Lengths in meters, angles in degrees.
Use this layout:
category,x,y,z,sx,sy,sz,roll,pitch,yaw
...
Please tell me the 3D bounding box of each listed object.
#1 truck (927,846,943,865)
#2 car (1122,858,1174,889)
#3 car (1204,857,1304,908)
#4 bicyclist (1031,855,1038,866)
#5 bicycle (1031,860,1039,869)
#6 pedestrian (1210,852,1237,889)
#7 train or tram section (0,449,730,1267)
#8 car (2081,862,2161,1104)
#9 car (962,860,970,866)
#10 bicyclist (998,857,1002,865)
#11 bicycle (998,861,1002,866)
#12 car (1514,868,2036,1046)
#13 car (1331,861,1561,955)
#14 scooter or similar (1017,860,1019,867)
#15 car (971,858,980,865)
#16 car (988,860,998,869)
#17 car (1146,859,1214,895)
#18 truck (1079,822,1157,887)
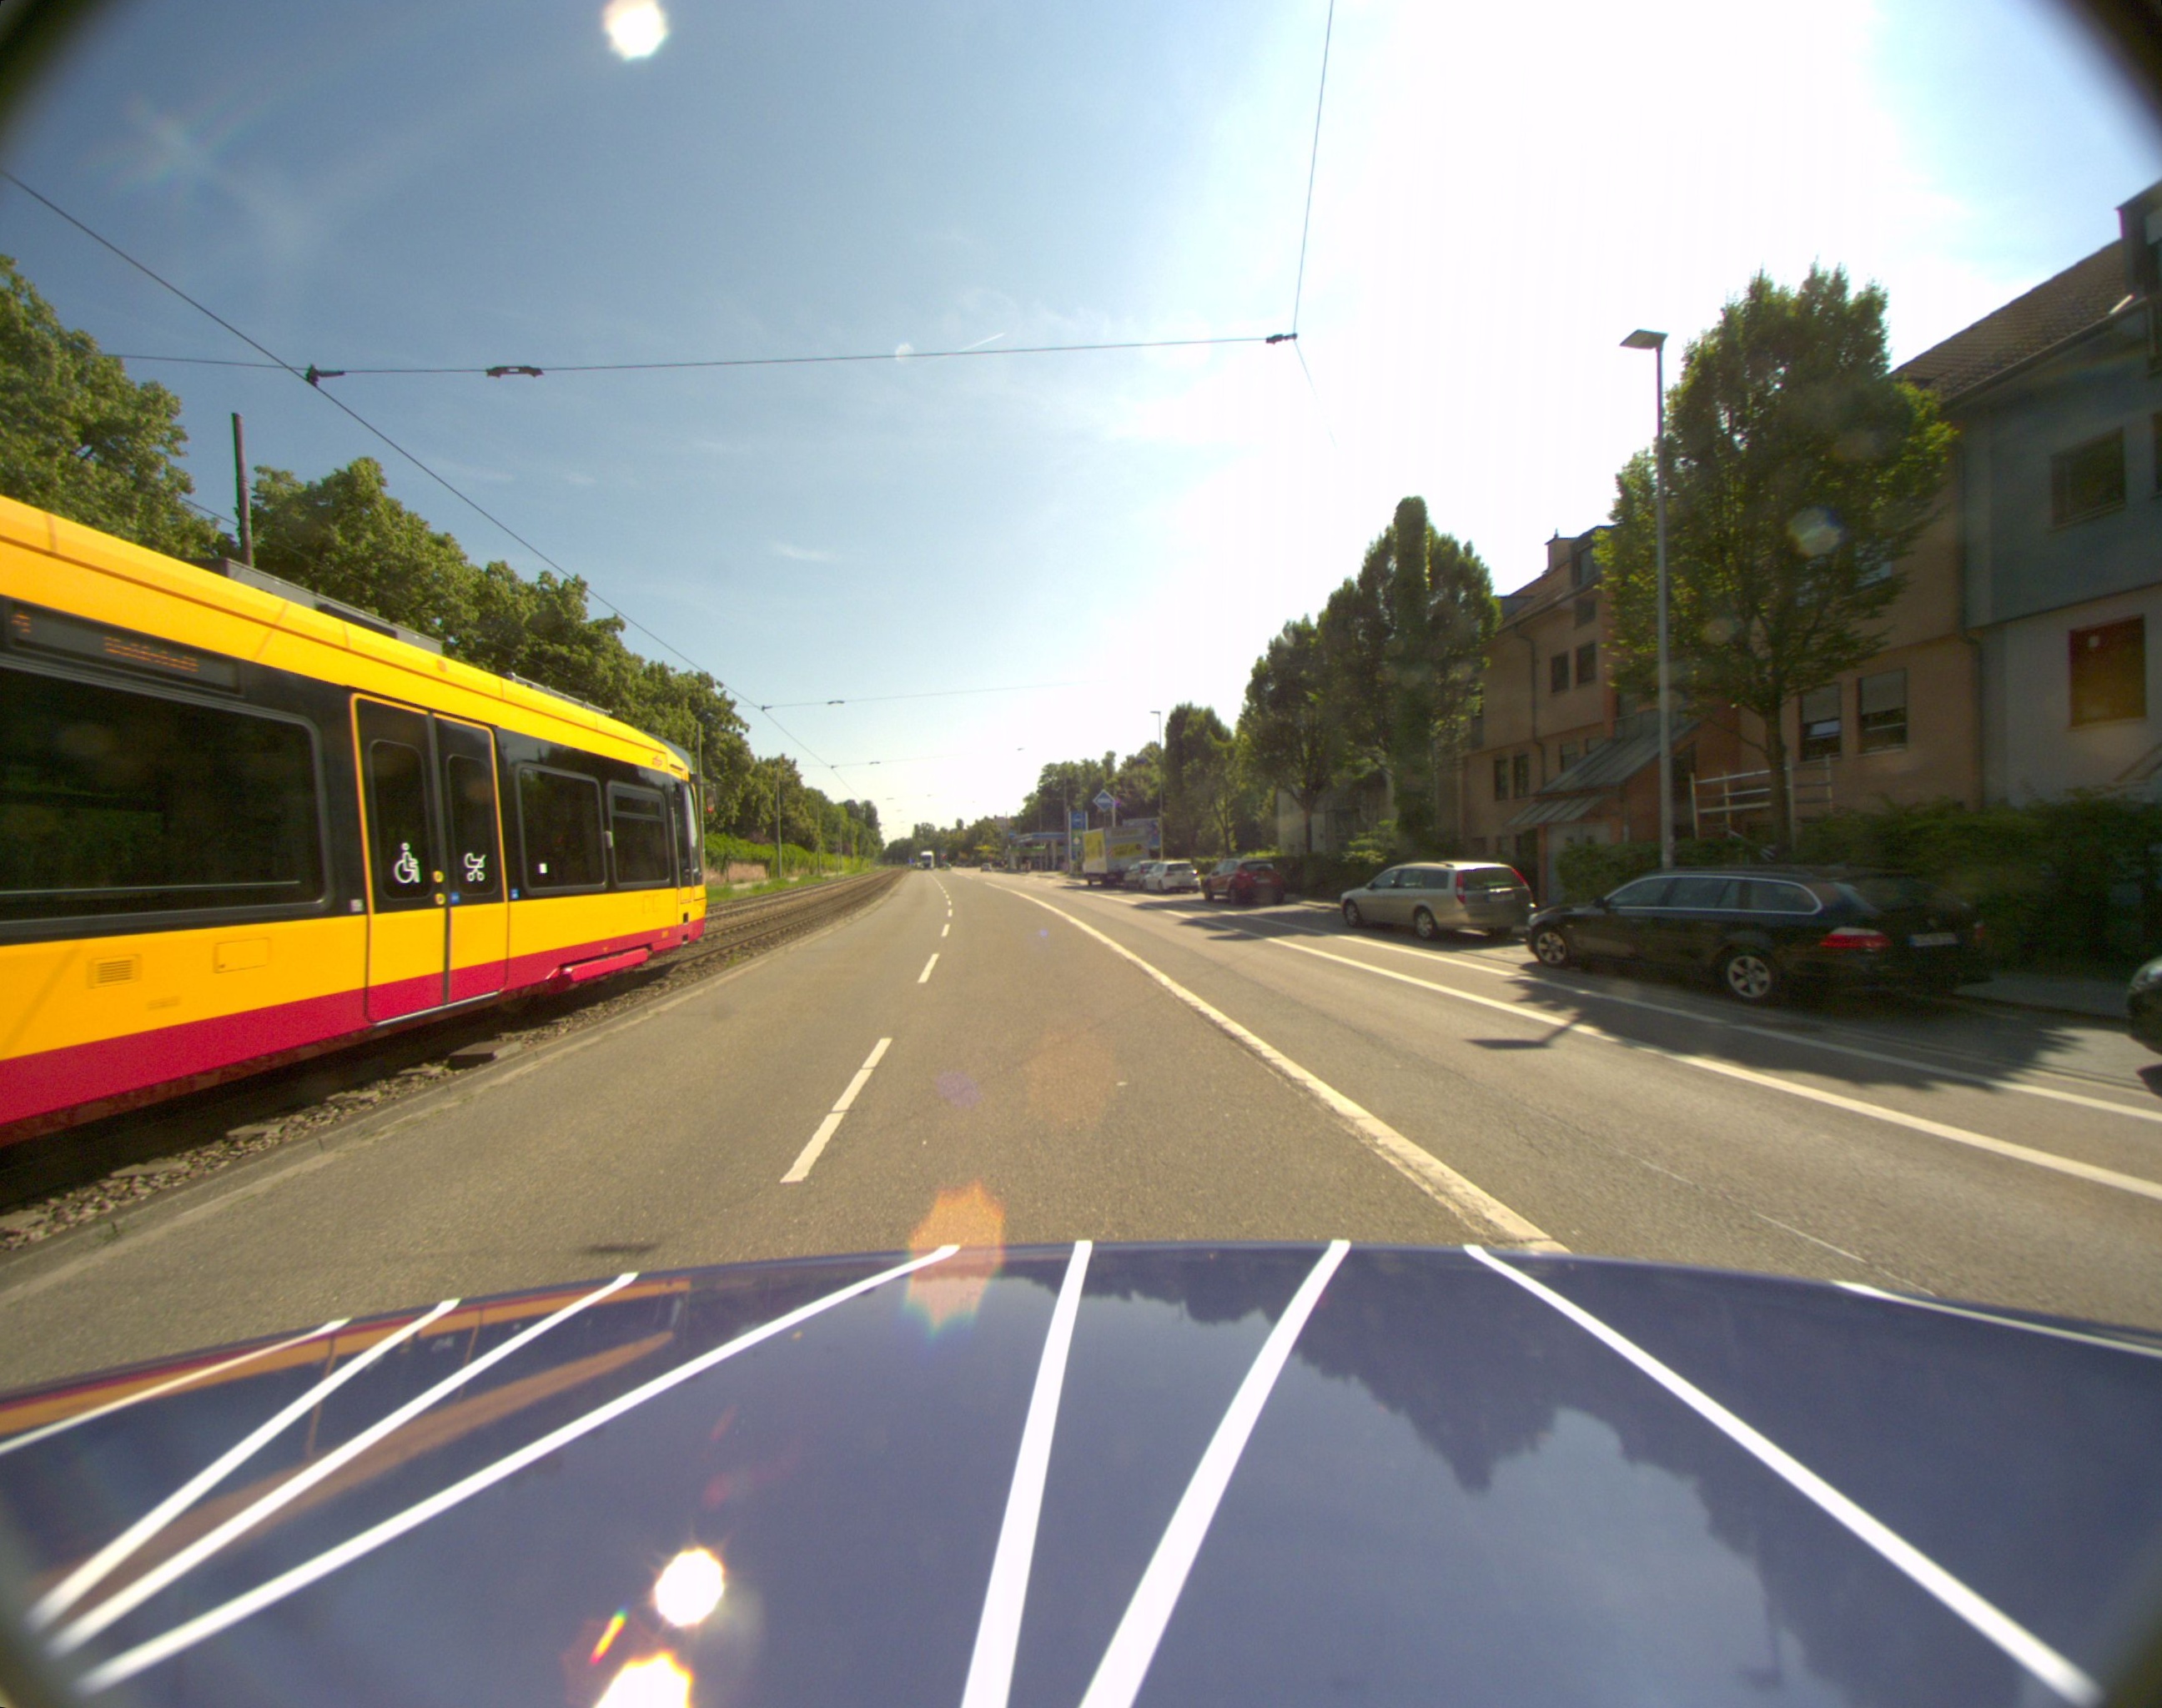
category,x,y,z,sx,sy,sz,roll,pitch,yaw
truck,-31.797,0.328,165.932,2.855,3.983,14.294,-1,0,-8
car,3.411,0.987,39.560,1.615,1.475,3.632,-3,0,-12
car,5.792,0.902,26.003,1.736,1.542,4.314,-2,0,-10
bicyclist,-6.039,0.808,99.380,0.849,1.427,0.832,-1,0,-7
bicycle,-6.016,1.372,99.389,0.828,1.088,2.770,-1,0,-9
pedestrian,6.595,0.745,35.159,0.878,1.681,1.054,-1,0,-11
train or tram section,-6.401,0.029,5.674,2.519,3.725,13.303,-1,0,-6
car,8.399,0.855,3.491,1.722,1.615,4.310,-3,0,-6
car,-33.988,2.576,223.992,1.828,1.661,3.996,-2,-2,-16
bicyclist,-18.496,1.657,173.381,0.838,1.664,0.826,-2,-1,-12
bicycle,-18.504,2.146,173.532,0.940,1.168,2.209,-1,0,-10
car,7.811,0.981,9.383,1.728,1.466,4.711,-3,0,-8
car,7.228,0.968,15.735,1.786,1.475,4.852,-3,1,-10
scooter or similar,-11.642,1.800,140.333,0.442,1.230,1.345,-1,0,-2
car,-28.950,2.023,207.714,1.828,1.661,3.996,-2,-2,-16
car,-15.013,1.769,129.122,1.664,1.412,4.306,0,0,-8
car,4.383,0.978,34.216,1.763,1.420,4.277,-3,0,-11
truck,2.033,0.052,46.179,2.676,3.509,8.582,-3,0,-11
